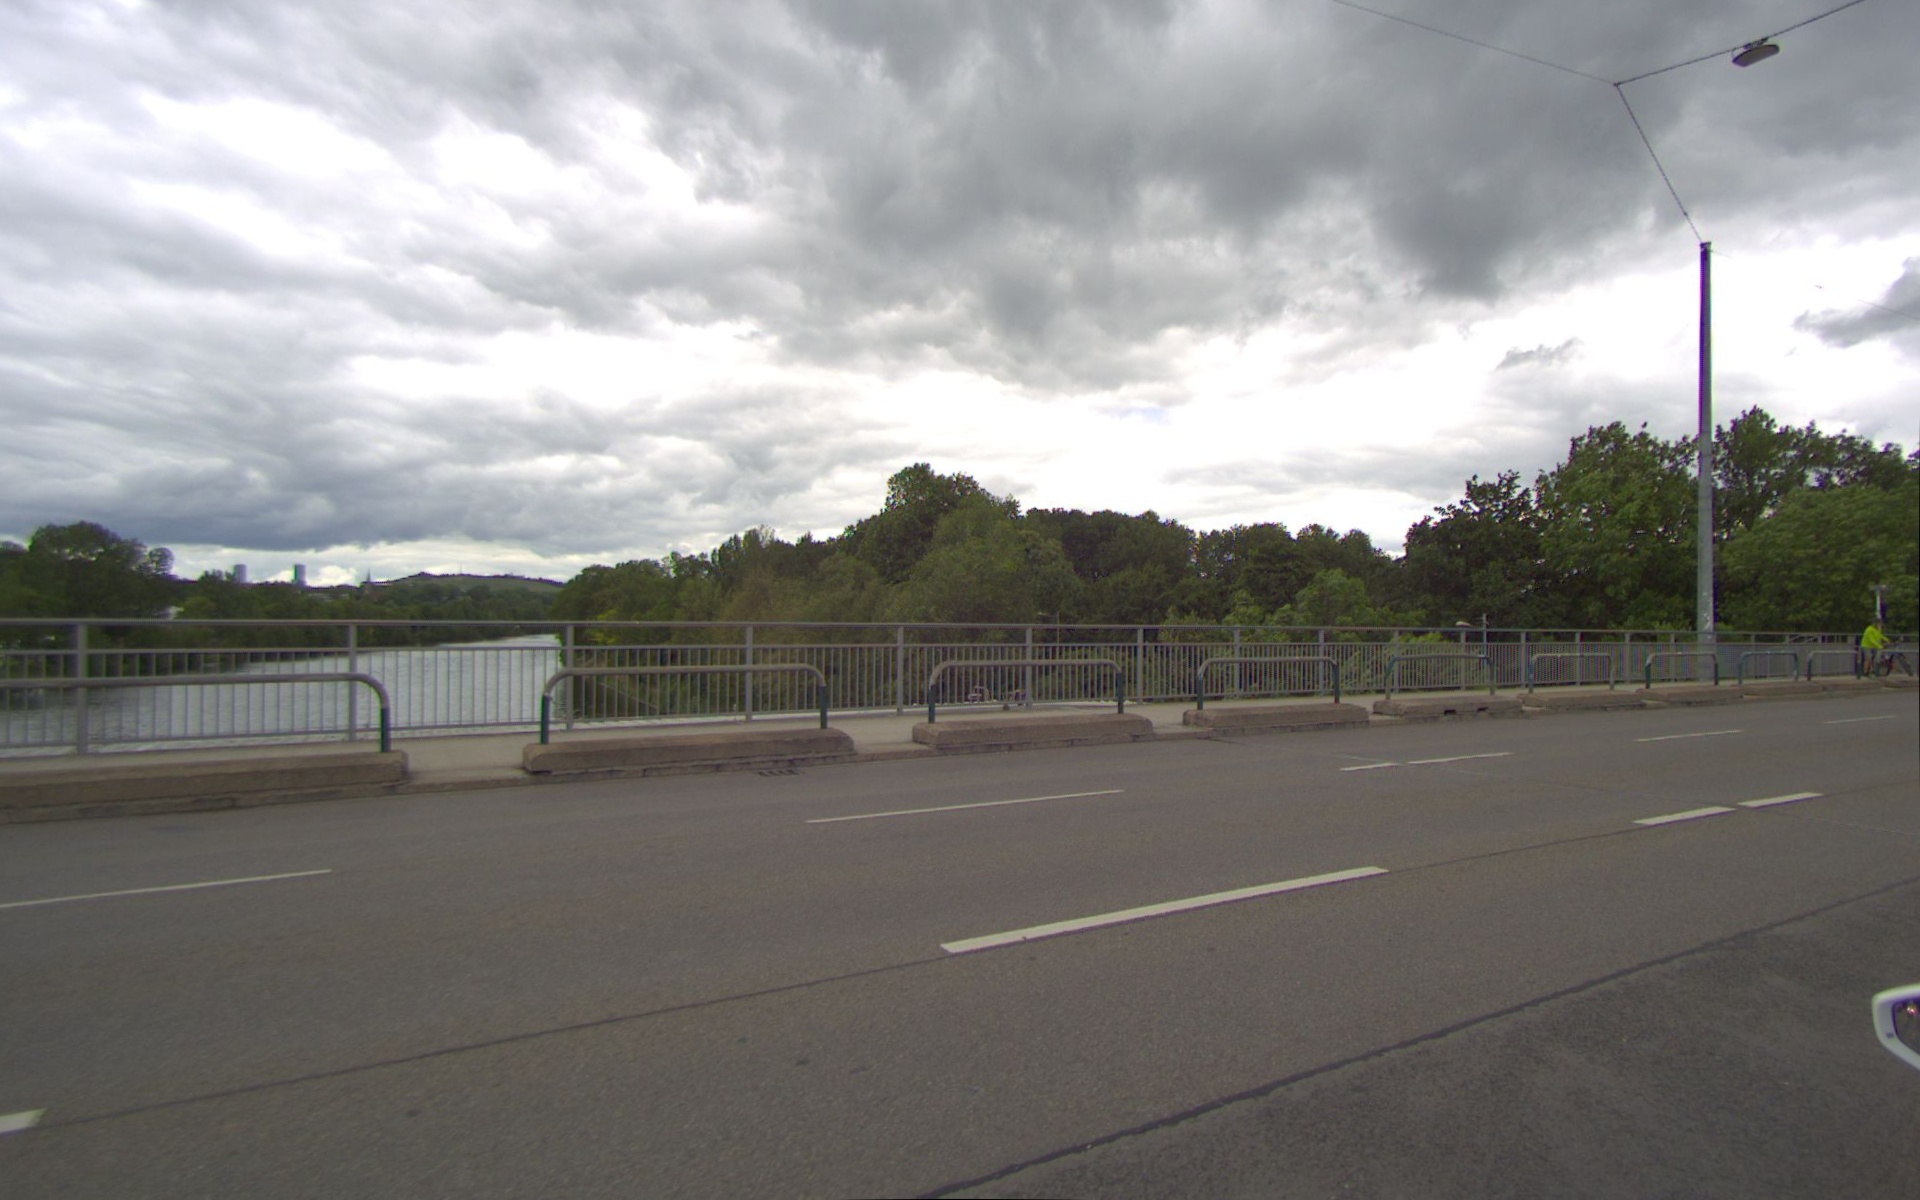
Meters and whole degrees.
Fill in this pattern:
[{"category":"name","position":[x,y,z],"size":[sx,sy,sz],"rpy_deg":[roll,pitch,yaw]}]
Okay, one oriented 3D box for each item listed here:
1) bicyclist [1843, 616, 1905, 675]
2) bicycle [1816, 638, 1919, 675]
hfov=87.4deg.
[{"category":"bicyclist","position":[28.453,1.398,31.281],"size":[0.889,1.788,1.133],"rpy_deg":[1,-1,-12]},{"category":"bicycle","position":[28.453,1.736,31.272],"size":[0.904,1.065,2.794],"rpy_deg":[1,-1,-11]}]
